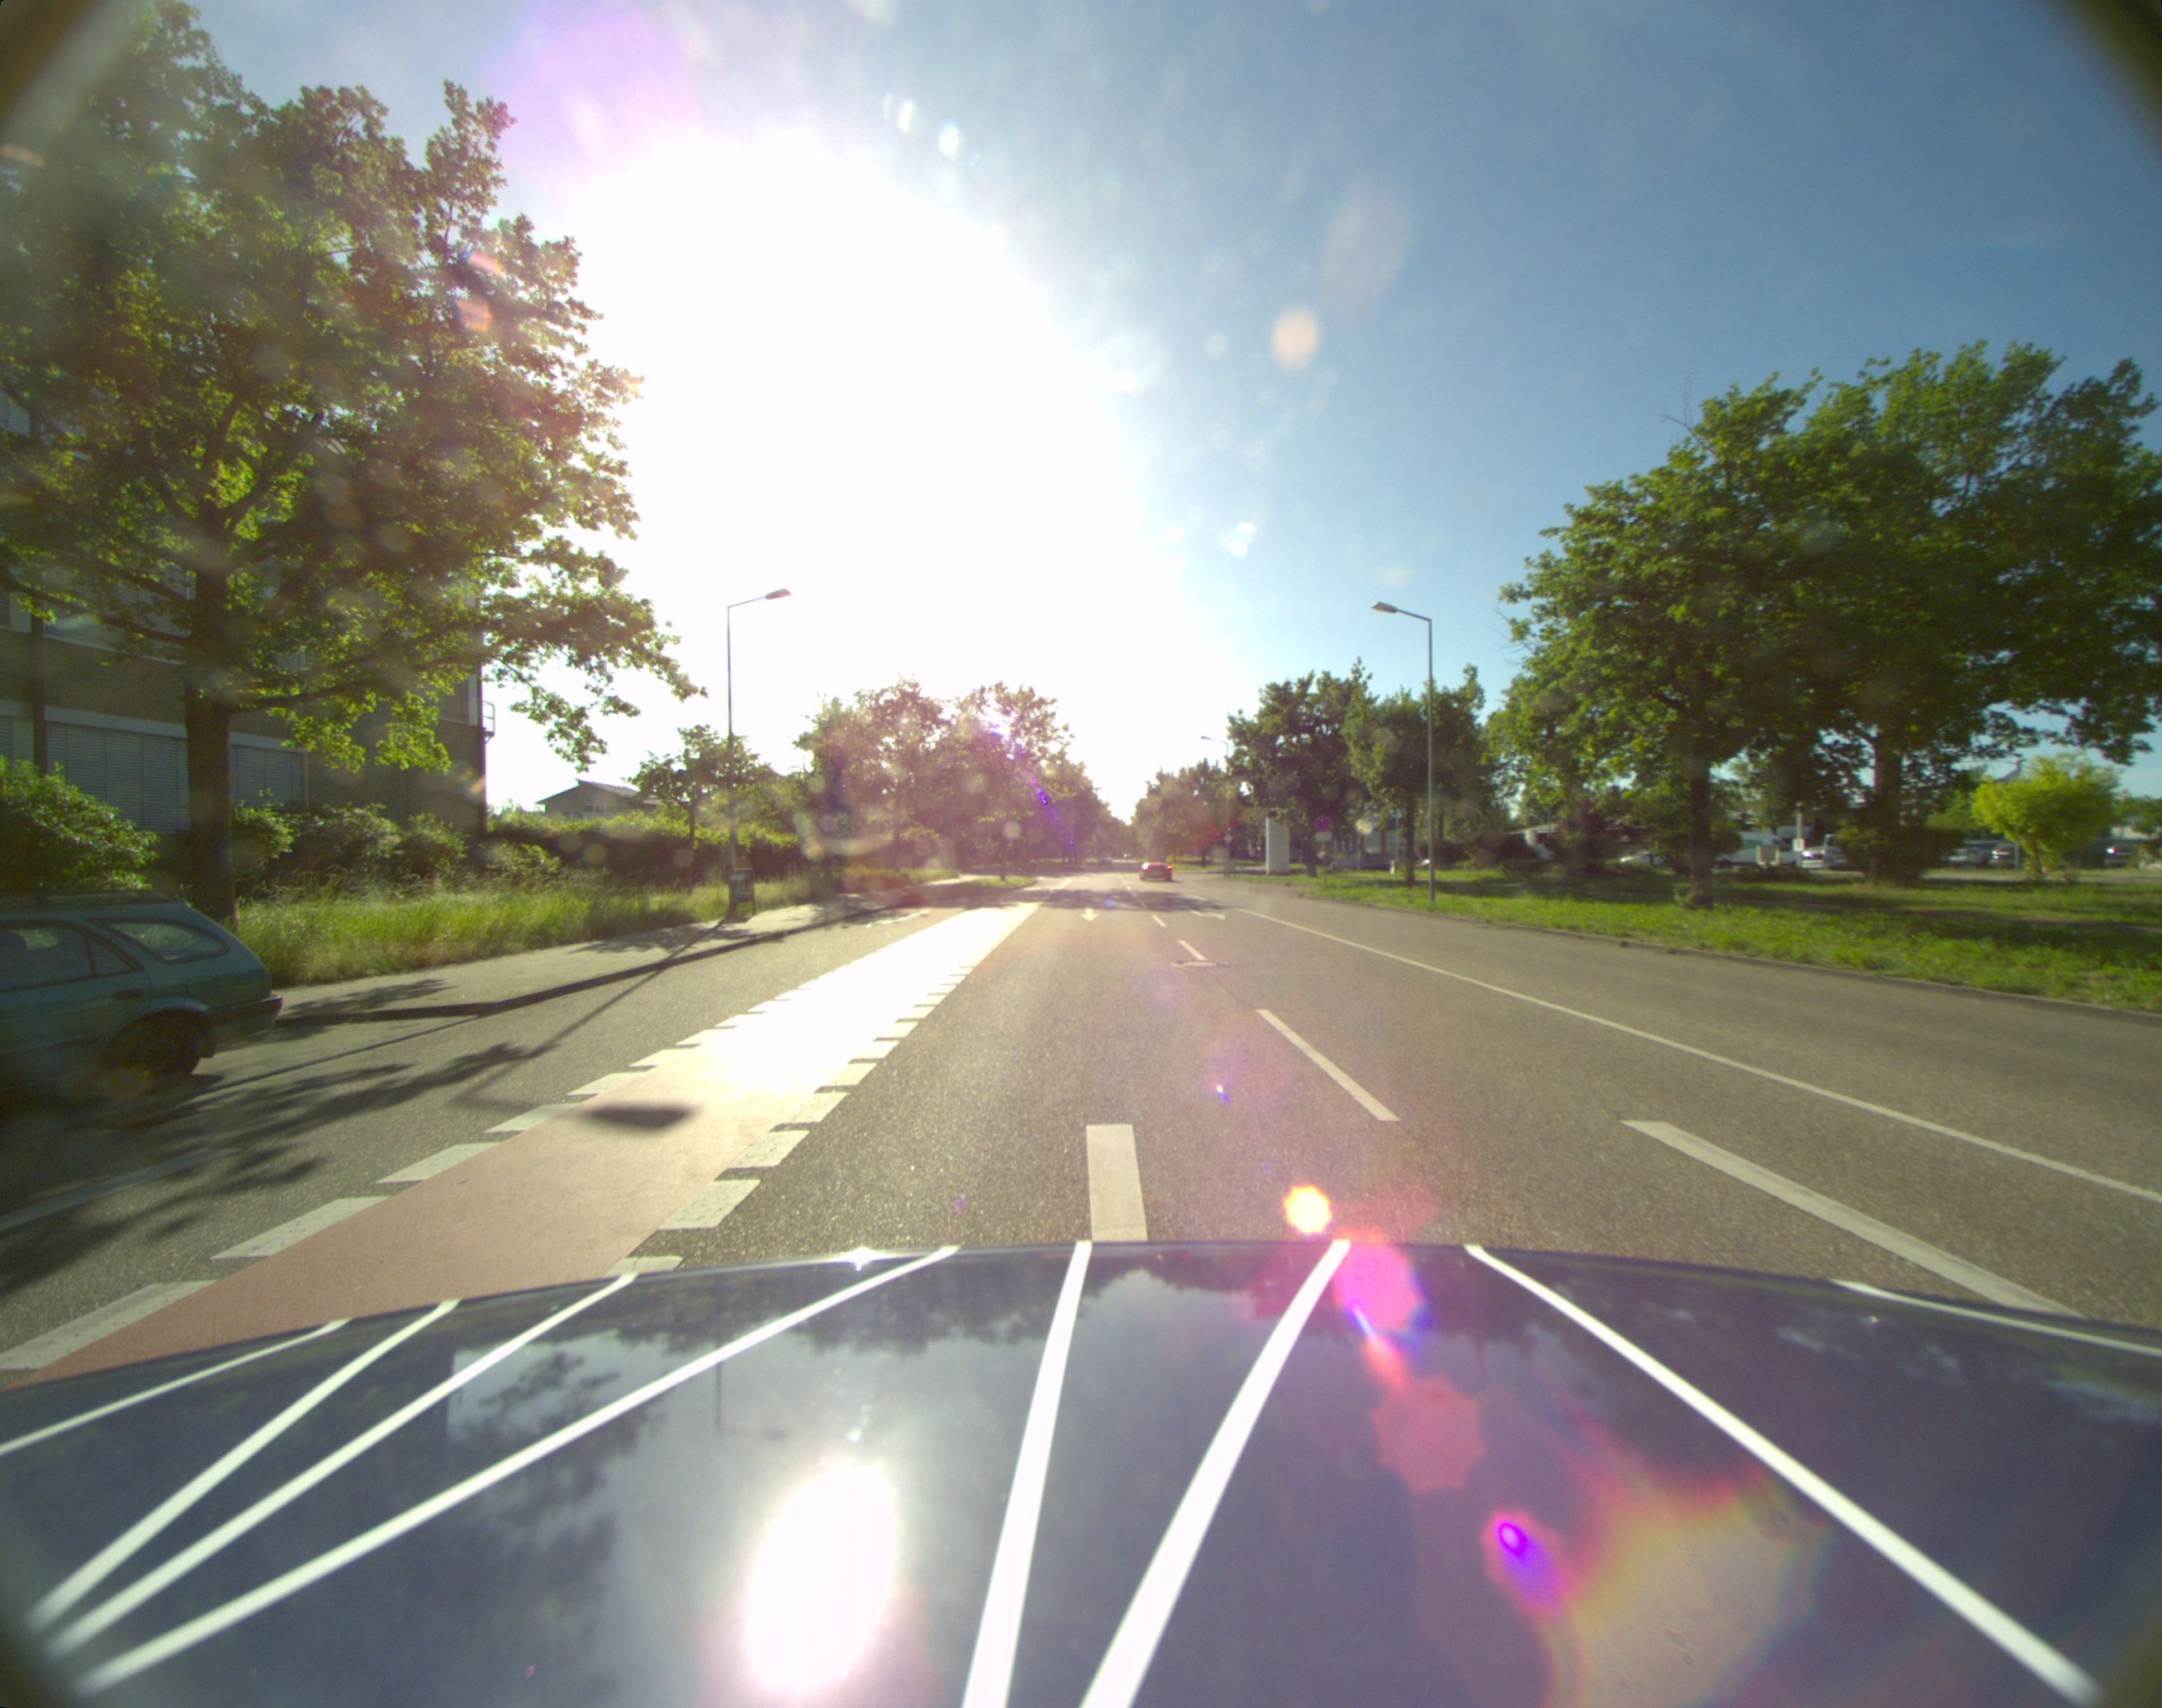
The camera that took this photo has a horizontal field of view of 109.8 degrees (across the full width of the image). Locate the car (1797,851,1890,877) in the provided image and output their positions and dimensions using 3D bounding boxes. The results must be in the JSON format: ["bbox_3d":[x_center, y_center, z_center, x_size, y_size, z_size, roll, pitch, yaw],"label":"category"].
[{"bbox_3d":[41.172,0.516,41.071,3.532,1.294,1.574,-1,1,-2],"label":"car"}]

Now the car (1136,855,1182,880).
[{"bbox_3d":[4.690,0.786,46.326,1.999,1.395,4.586,2,0,-4],"label":"car"}]

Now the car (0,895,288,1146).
[{"bbox_3d":[-7.459,1.084,4.232,1.596,1.420,4.203,1,1,2],"label":"car"}]

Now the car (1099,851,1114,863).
[{"bbox_3d":[3.229,0.363,97.492,1.827,1.477,3.999,-2,1,1],"label":"car"}]

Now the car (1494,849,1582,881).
[{"bbox_3d":[39.923,0.969,66.429,6.356,2.501,2.300,-2,1,-3],"label":"car"}]

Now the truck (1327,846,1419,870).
[{"bbox_3d":[25.093,0.322,65.406,7.130,2.038,2.140,0,1,-2],"label":"truck"}]

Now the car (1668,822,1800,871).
[{"bbox_3d":[39.582,-0.463,46.144,6.176,2.687,2.300,-2,1,-3],"label":"car"}]

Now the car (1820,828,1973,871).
[{"bbox_3d":[40.857,-0.227,38.179,5.424,2.058,2.300,-1,1,-3],"label":"car"}]
